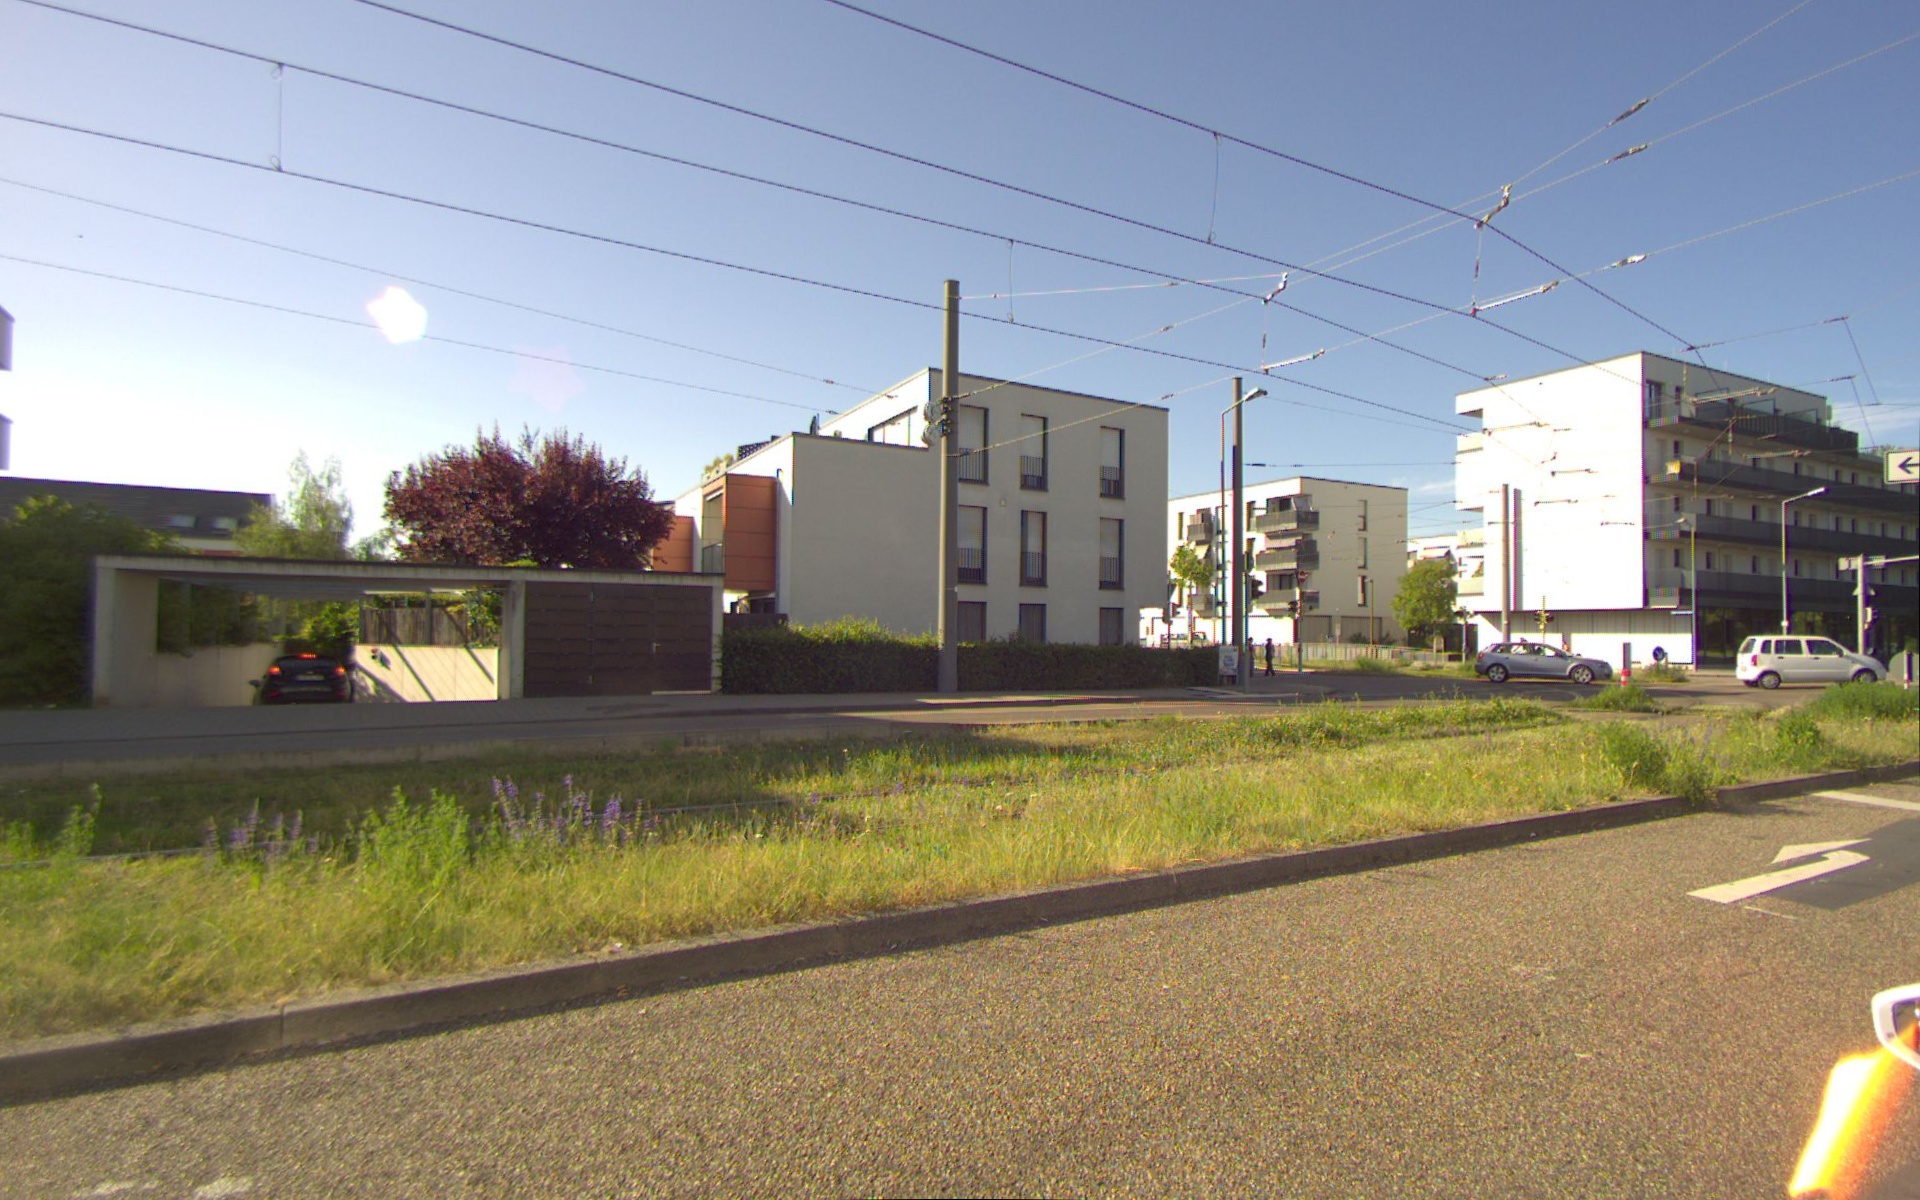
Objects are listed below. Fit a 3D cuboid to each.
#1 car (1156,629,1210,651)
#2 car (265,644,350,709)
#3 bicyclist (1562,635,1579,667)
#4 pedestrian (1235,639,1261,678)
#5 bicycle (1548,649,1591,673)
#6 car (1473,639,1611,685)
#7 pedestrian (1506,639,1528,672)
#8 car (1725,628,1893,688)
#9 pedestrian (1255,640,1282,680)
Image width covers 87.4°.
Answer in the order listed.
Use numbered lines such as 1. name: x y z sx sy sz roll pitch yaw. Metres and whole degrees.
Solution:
1. car: 17.799 3.177 80.299 1.974 1.595 4.309 2 0 -27
2. car: -15.512 1.855 23.884 1.560 1.344 3.966 2 -7 -33
3. bicyclist: 32.297 2.683 53.126 0.631 1.635 0.781 2 0 40
4. pedestrian: 12.423 2.500 43.292 0.736 1.626 0.765 2 0 -37
5. bicycle: 32.261 3.222 53.192 1.832 1.139 0.819 2 0 40
6. car: 20.390 2.127 35.251 4.043 1.505 1.864 -1 -2 36
7. pedestrian: 29.305 2.896 52.832 0.613 1.714 0.810 1 -2 -28
8. car: 26.419 1.772 31.411 3.617 1.743 1.868 0 -1 25
9. pedestrian: 13.015 2.514 42.379 0.736 1.626 0.765 2 0 -37
